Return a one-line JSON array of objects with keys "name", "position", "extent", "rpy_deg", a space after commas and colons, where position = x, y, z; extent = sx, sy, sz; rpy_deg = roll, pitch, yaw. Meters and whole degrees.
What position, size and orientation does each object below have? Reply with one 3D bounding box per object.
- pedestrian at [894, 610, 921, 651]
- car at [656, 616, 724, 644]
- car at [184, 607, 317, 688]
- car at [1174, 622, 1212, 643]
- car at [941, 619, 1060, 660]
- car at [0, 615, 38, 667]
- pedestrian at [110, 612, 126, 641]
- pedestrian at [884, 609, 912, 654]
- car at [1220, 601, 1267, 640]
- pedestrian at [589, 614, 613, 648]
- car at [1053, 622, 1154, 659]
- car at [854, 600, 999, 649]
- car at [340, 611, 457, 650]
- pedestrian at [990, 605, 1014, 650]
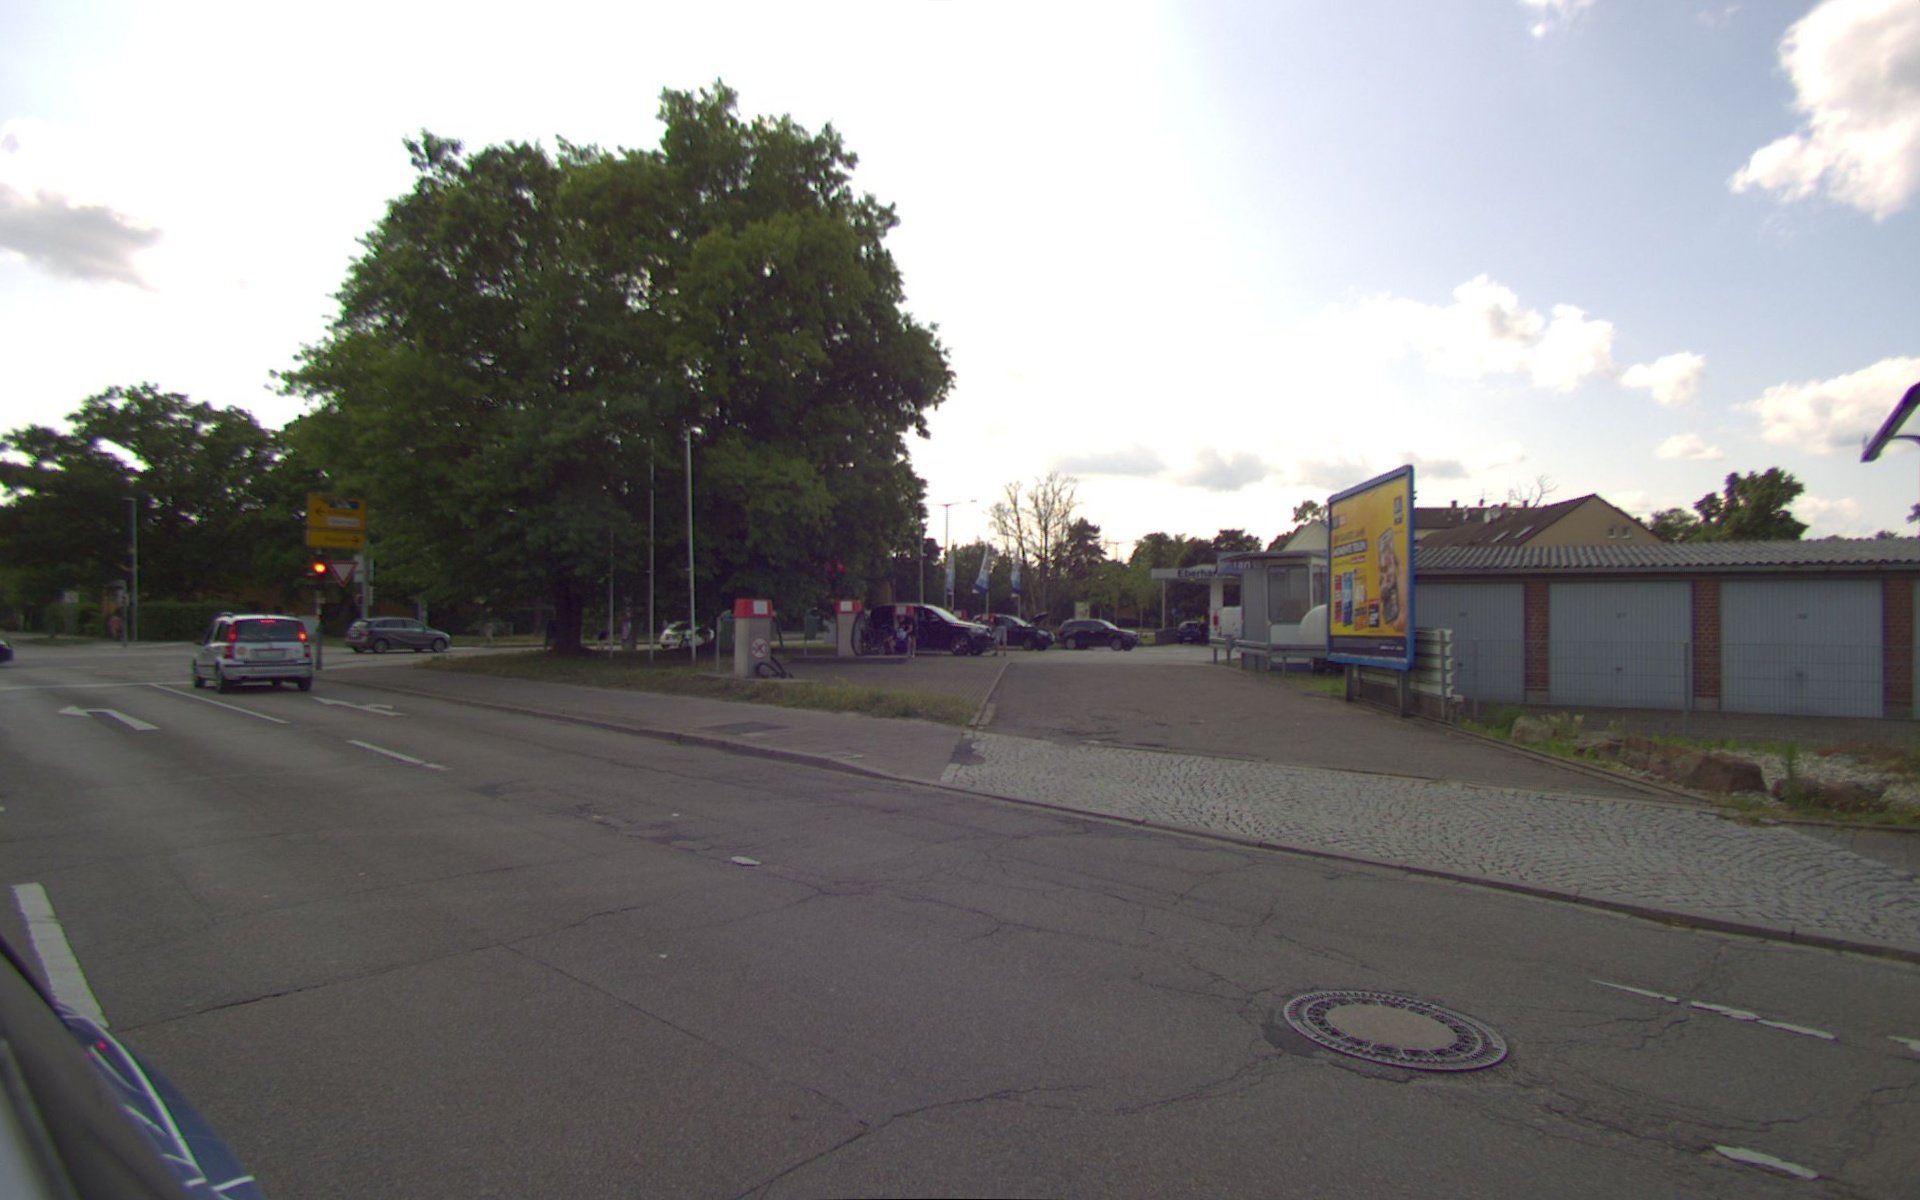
[{"name": "pedestrian", "position": [-1.576, 0.908, 30.553], "extent": [0.634, 1.199, 0.768], "rpy_deg": [3, -2, -13]}, {"name": "car", "position": [-15.021, 1.689, 56.438], "extent": [1.571, 1.508, 3.498], "rpy_deg": [-1, -2, 35]}, {"name": "car", "position": [-14.614, 0.940, 20.787], "extent": [3.610, 1.529, 1.537], "rpy_deg": [-1, -3, 44]}, {"name": "car", "position": [16.693, 2.341, 72.470], "extent": [1.748, 1.465, 3.704], "rpy_deg": [-1, -3, 29]}, {"name": "car", "position": [1.884, 1.809, 46.974], "extent": [5.159, 1.841, 2.139], "rpy_deg": [-1, -2, 21]}, {"name": "car", "position": [-30.496, 1.166, 29.644], "extent": [1.796, 1.508, 4.822], "rpy_deg": [2, -2, 30]}, {"name": "pedestrian", "position": [-51.965, 1.639, 62.466], "extent": [0.681, 1.755, 0.706], "rpy_deg": [2, -3, -36]}, {"name": "pedestrian", "position": [-1.822, 0.912, 29.683], "extent": [0.634, 1.265, 0.768], "rpy_deg": [3, -2, -13]}, {"name": "car", "position": [18.955, 1.388, 67.467], "extent": [1.748, 2.472, 5.693], "rpy_deg": [-1, -3, 29]}, {"name": "pedestrian", "position": [-16.579, 1.429, 46.739], "extent": [0.720, 1.543, 0.756], "rpy_deg": [0, -2, 15]}, {"name": "car", "position": [7.942, 2.231, 56.118], "extent": [5.173, 2.019, 2.133], "rpy_deg": [-1, -2, 28]}, {"name": "car", "position": [-1.138, 0.854, 34.853], "extent": [4.531, 1.608, 2.139], "rpy_deg": [-1, -2, 21]}, {"name": "car", "position": [-25.127, 1.374, 45.462], "extent": [1.698, 1.631, 4.315], "rpy_deg": [0, -2, 30]}, {"name": "pedestrian", "position": [1.423, 0.934, 34.388], "extent": [0.559, 1.506, 0.615], "rpy_deg": [2, -2, 24]}]
